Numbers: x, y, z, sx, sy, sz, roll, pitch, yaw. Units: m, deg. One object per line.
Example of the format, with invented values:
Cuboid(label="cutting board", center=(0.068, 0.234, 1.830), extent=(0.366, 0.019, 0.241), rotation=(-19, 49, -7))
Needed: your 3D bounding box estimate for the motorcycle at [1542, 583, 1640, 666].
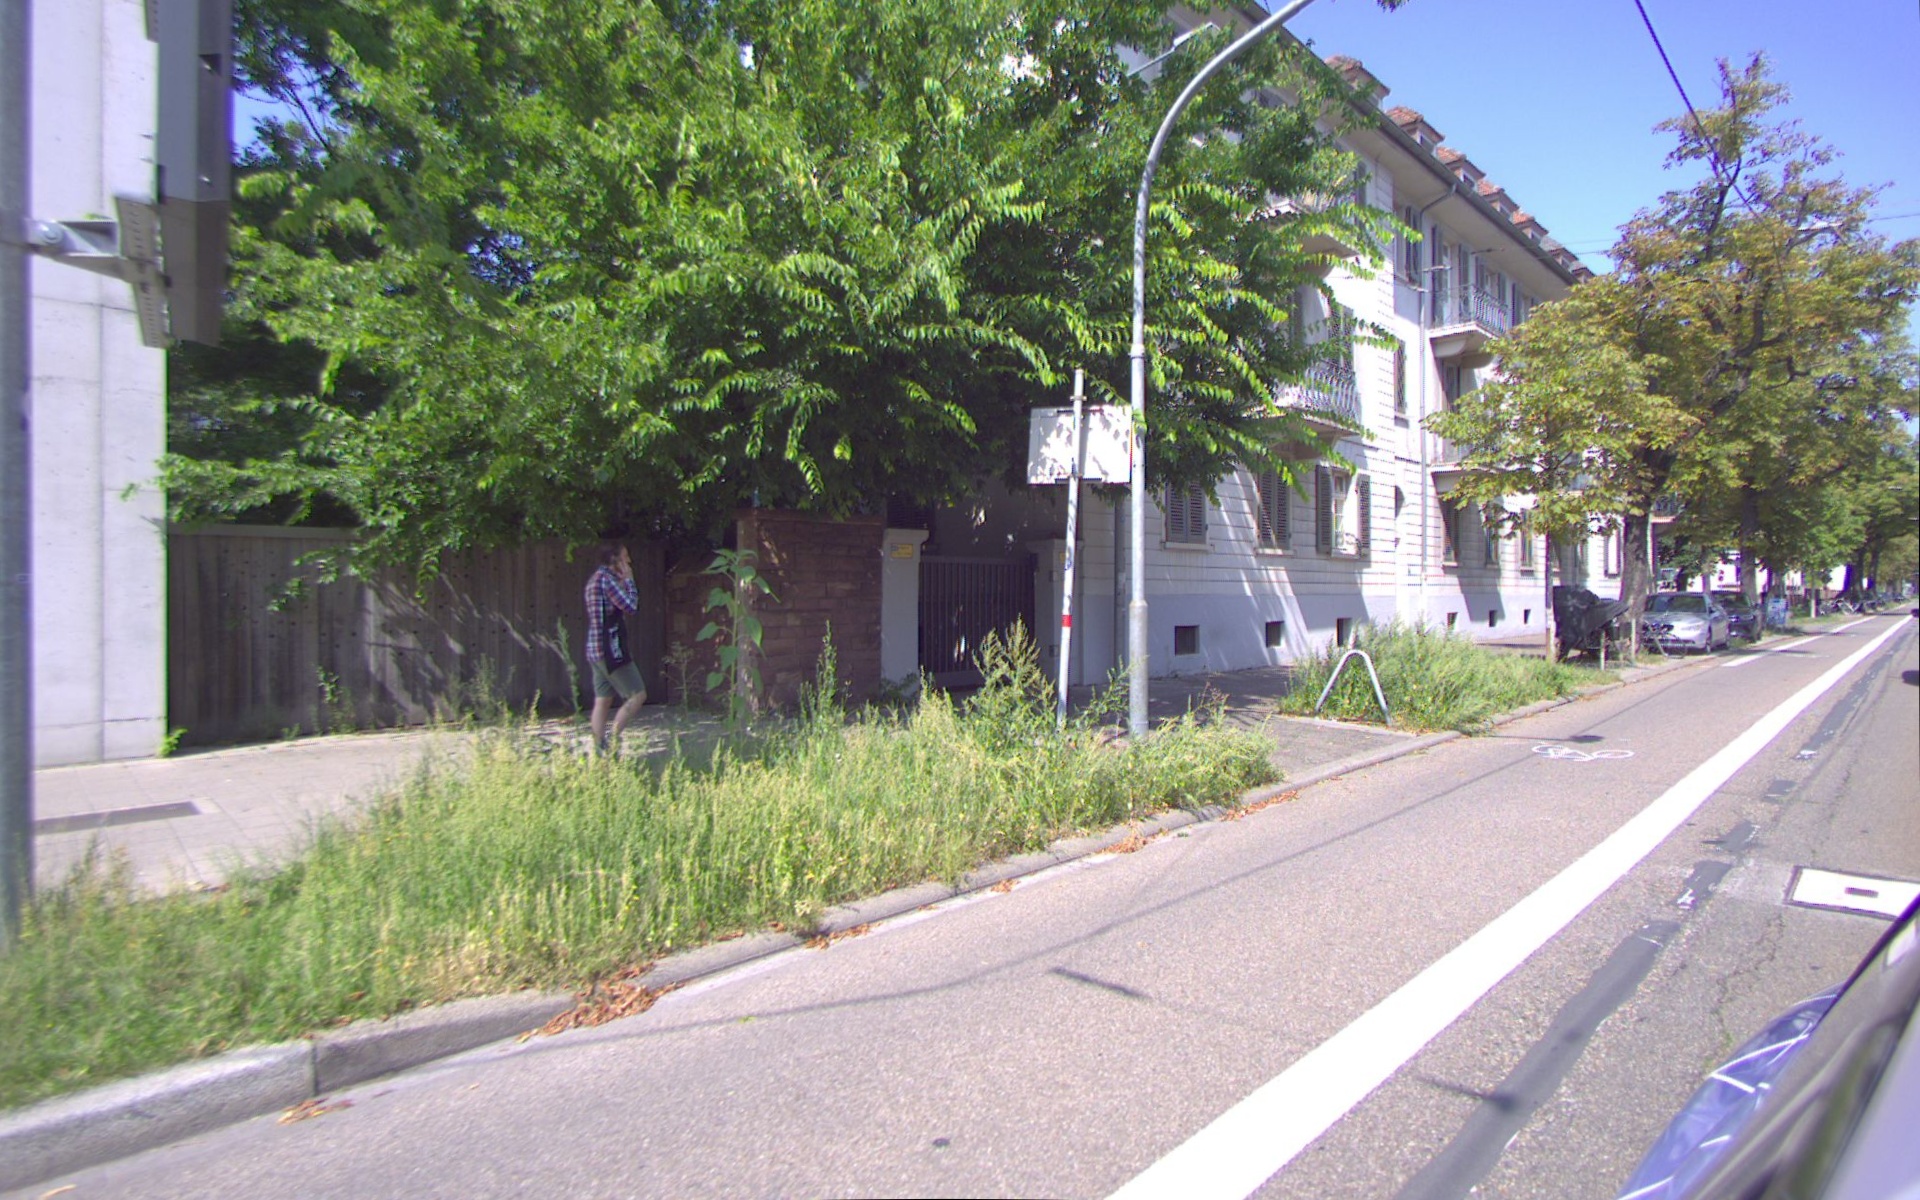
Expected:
Cuboid(label="motorcycle", center=(12.632, 0.445, 20.230), extent=(2.367, 1.572, 0.888), rotation=(-1, 1, -37))

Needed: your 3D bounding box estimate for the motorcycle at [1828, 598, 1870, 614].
Cuboid(label="motorcycle", center=(57.535, 0.408, 65.494), extent=(0.783, 1.028, 1.995), rotation=(0, -1, -45))

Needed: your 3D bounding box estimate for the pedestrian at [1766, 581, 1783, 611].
Cuboid(label="pedestrian", center=(49.465, -0.251, 61.449), extent=(0.622, 1.808, 0.748), rotation=(0, -1, -44))

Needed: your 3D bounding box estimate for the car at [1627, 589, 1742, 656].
Cuboid(label="car", center=(17.865, 0.471, 24.861), extent=(1.782, 1.469, 4.678), rotation=(0, 1, 42))

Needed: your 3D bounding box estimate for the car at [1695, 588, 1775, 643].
Cuboid(label="car", center=(23.291, 0.413, 30.347), extent=(1.661, 1.526, 4.369), rotation=(0, 1, 41))

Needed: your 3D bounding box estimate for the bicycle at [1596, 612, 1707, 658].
Cuboid(label="bicycle", center=(15.354, 0.754, 22.513), extent=(0.708, 0.964, 1.925), rotation=(-1, 0, -41))

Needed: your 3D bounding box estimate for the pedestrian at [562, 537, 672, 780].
Cuboid(label="pedestrian", center=(-2.639, 0.419, 7.768), extent=(0.569, 1.754, 0.692), rotation=(0, 0, -43))

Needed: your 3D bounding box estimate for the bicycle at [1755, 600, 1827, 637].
Cuboid(label="bicycle", center=(26.955, 0.591, 32.835), extent=(0.645, 1.137, 1.755), rotation=(0, 0, -45))
